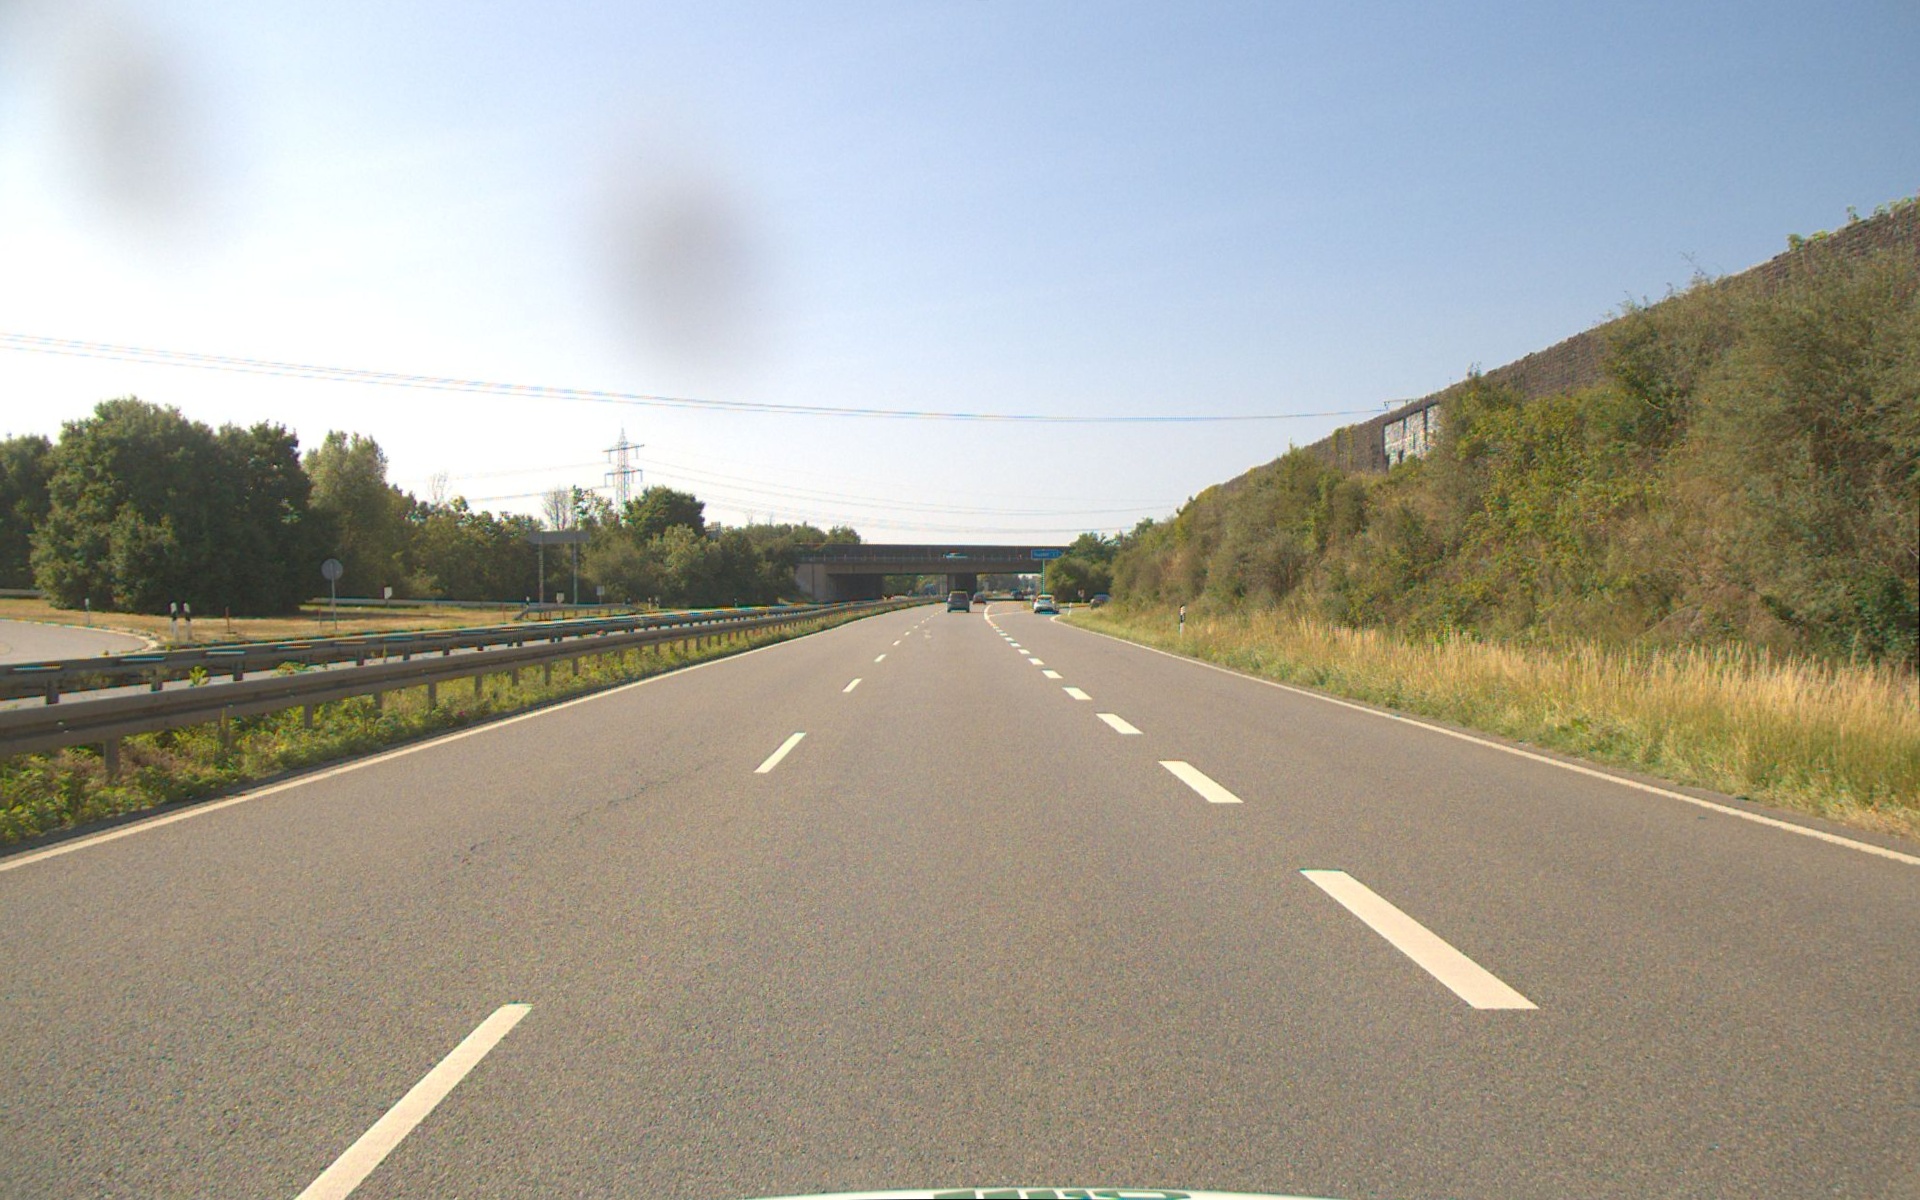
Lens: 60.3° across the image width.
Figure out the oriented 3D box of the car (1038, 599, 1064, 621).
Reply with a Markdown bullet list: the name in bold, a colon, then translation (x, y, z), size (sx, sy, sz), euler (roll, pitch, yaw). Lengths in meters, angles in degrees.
- **car**: translation (7.279, 0.780, 131.527), size (1.758, 1.694, 4.003), euler (3, 1, 7)

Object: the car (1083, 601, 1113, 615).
- **car**: translation (13.495, 0.792, 161.595), size (1.862, 1.320, 4.001), euler (3, 1, 19)

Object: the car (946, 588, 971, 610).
- **car**: translation (-0.085, -0.071, 131.906), size (1.811, 1.673, 4.001), euler (1, 0, 2)

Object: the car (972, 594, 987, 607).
- **car**: translation (2.502, 0.018, 214.754), size (1.811, 1.673, 4.001), euler (1, 0, 2)
